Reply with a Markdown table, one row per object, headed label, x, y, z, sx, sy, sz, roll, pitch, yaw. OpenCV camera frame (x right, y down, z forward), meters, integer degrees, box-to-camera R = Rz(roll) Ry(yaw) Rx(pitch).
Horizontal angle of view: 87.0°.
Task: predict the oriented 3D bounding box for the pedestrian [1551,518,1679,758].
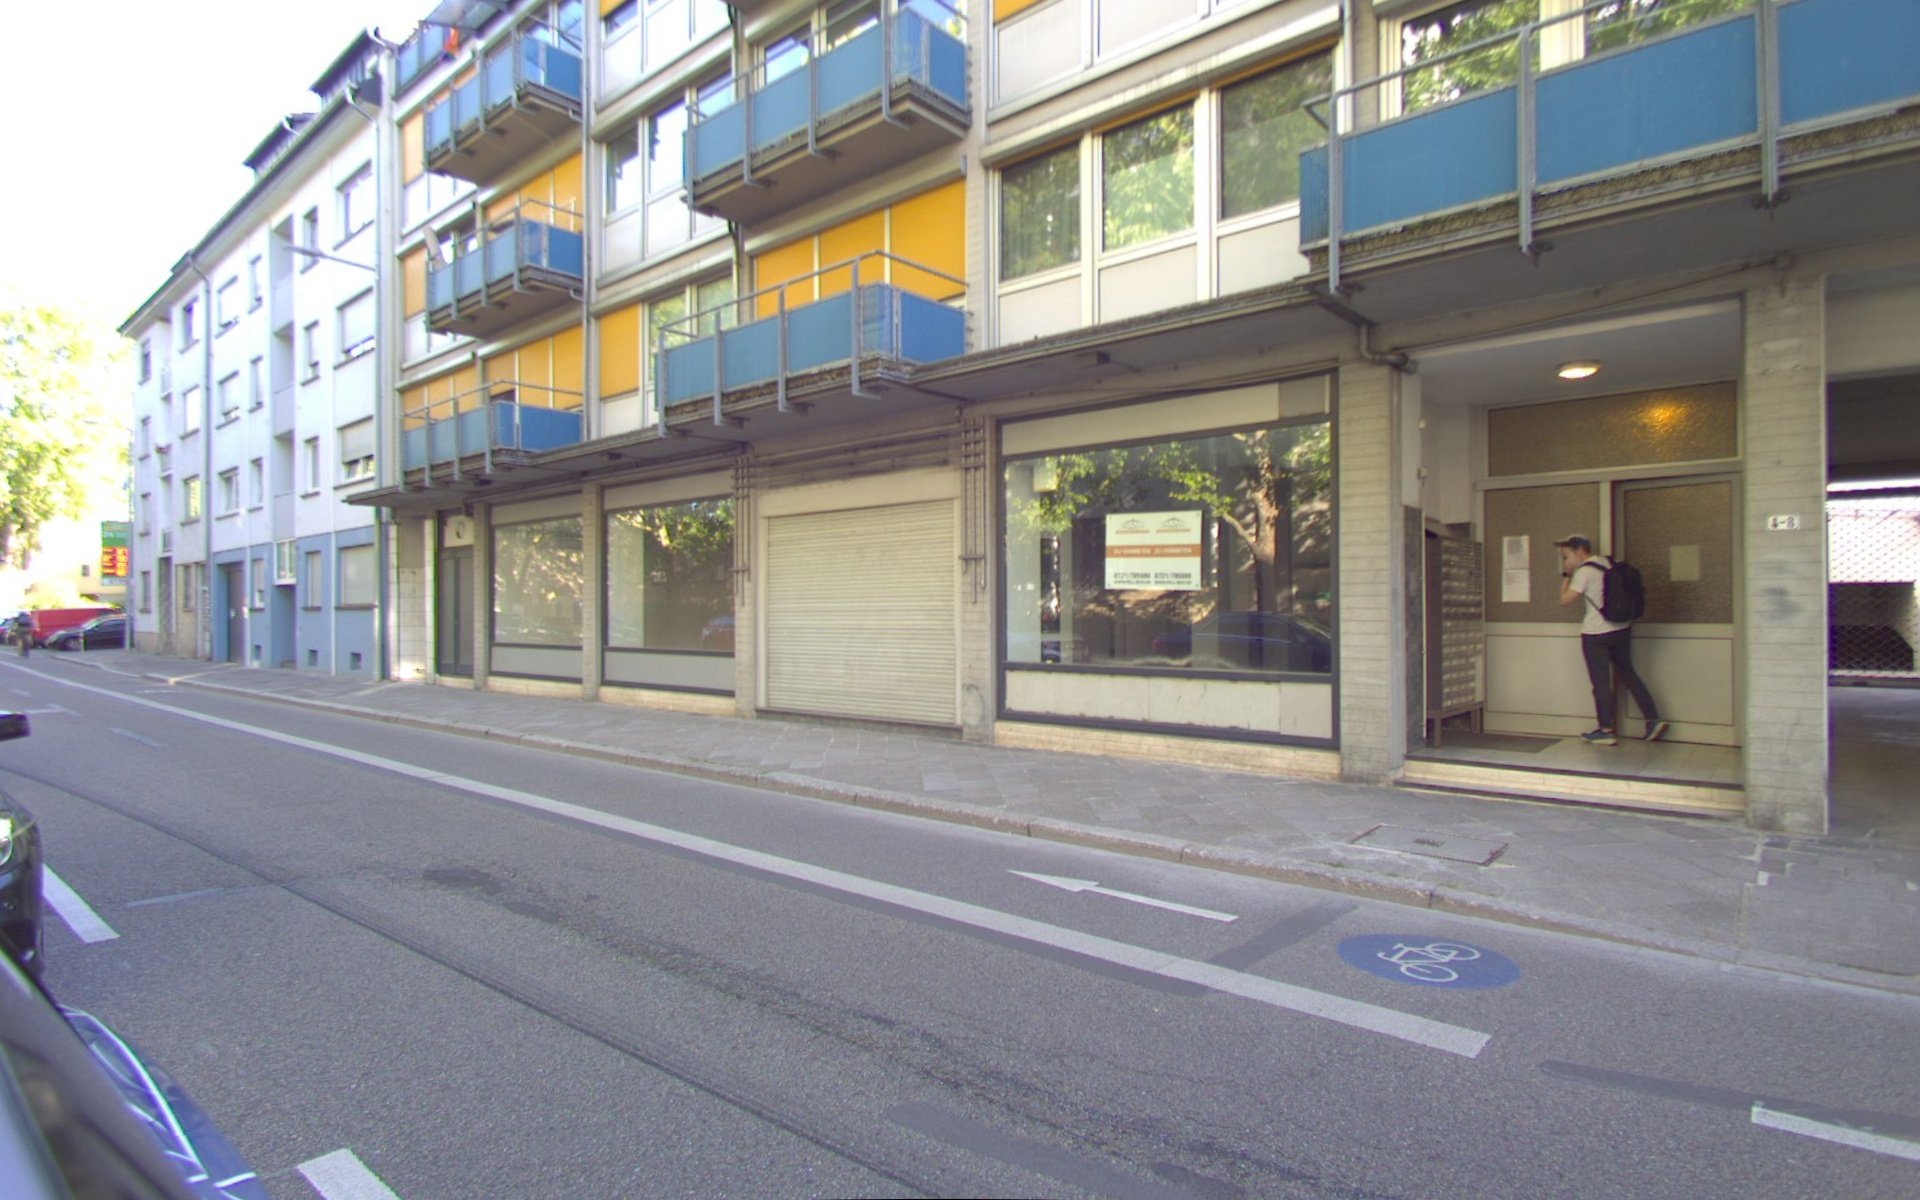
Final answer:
| label | x | y | z | sx | sy | sz | roll | pitch | yaw |
| --- | --- | --- | --- | --- | --- | --- | --- | --- | --- |
| pedestrian | 5.467 | 0.299 | 8.453 | 0.787 | 1.894 | 0.573 | -1 | 0 | 43 |

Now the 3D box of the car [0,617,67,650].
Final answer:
| label | x | y | z | sx | sy | sz | roll | pitch | yaw |
| --- | --- | --- | --- | --- | --- | --- | --- | --- | --- |
| car | -59.227 | 2.118 | 64.022 | 2.000 | 1.962 | 3.944 | -1 | 0 | 42 |

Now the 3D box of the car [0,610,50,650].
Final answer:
| label | x | y | z | sx | sy | sz | roll | pitch | yaw |
| --- | --- | --- | --- | --- | --- | --- | --- | --- | --- |
| car | -62.819 | 1.966 | 66.790 | 2.000 | 2.538 | 3.944 | -1 | 0 | 42 |

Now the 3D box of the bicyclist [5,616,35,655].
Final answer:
| label | x | y | z | sx | sy | sz | roll | pitch | yaw |
| --- | --- | --- | --- | --- | --- | --- | --- | --- | --- |
| bicyclist | -35.431 | 1.330 | 38.160 | 0.795 | 1.461 | 0.746 | -1 | 0 | 41 |

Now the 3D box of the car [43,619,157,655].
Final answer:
| label | x | y | z | sx | sy | sz | roll | pitch | yaw |
| --- | --- | --- | --- | --- | --- | --- | --- | --- | --- |
| car | -41.194 | 1.751 | 48.534 | 2.000 | 1.564 | 3.944 | -1 | 0 | 42 |

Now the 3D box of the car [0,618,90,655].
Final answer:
| label | x | y | z | sx | sy | sz | roll | pitch | yaw |
| --- | --- | --- | --- | --- | --- | --- | --- | --- | --- |
| car | -51.589 | 2.019 | 56.836 | 2.000 | 1.962 | 3.944 | -1 | 0 | 42 |

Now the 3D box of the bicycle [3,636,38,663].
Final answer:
| label | x | y | z | sx | sy | sz | roll | pitch | yaw |
| --- | --- | --- | --- | --- | --- | --- | --- | --- | --- |
| bicycle | -35.417 | 1.838 | 38.138 | 2.217 | 0.928 | 0.756 | -1 | 0 | 41 |

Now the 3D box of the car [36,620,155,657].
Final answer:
| label | x | y | z | sx | sy | sz | roll | pitch | yaw |
| --- | --- | --- | --- | --- | --- | --- | --- | --- | --- |
| car | -39.776 | 1.732 | 46.612 | 2.000 | 1.564 | 3.944 | -1 | 0 | 42 |

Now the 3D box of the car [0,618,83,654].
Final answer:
| label | x | y | z | sx | sy | sz | roll | pitch | yaw |
| --- | --- | --- | --- | --- | --- | --- | --- | --- | --- |
| car | -53.540 | 2.044 | 58.618 | 2.000 | 1.962 | 3.944 | -1 | 0 | 42 |

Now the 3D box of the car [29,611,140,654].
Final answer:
| label | x | y | z | sx | sy | sz | roll | pitch | yaw |
| --- | --- | --- | --- | --- | --- | --- | --- | --- | --- |
| car | -43.449 | 1.581 | 50.258 | 2.000 | 1.962 | 3.944 | -1 | 0 | 42 |

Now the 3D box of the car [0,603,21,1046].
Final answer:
| label | x | y | z | sx | sy | sz | roll | pitch | yaw |
| --- | --- | --- | --- | --- | --- | --- | --- | --- | --- |
| car | -5.539 | 0.809 | 4.289 | 4.479 | 1.512 | 1.842 | -1 | -1 | 41 |

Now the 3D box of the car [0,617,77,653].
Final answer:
| label | x | y | z | sx | sy | sz | roll | pitch | yaw |
| --- | --- | --- | --- | --- | --- | --- | --- | --- | --- |
| car | -55.621 | 2.071 | 60.571 | 2.000 | 1.962 | 3.944 | -1 | 0 | 42 |

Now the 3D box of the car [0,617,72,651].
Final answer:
| label | x | y | z | sx | sy | sz | roll | pitch | yaw |
| --- | --- | --- | --- | --- | --- | --- | --- | --- | --- |
| car | -57.427 | 2.095 | 62.288 | 2.000 | 1.962 | 3.944 | -1 | 0 | 42 |
